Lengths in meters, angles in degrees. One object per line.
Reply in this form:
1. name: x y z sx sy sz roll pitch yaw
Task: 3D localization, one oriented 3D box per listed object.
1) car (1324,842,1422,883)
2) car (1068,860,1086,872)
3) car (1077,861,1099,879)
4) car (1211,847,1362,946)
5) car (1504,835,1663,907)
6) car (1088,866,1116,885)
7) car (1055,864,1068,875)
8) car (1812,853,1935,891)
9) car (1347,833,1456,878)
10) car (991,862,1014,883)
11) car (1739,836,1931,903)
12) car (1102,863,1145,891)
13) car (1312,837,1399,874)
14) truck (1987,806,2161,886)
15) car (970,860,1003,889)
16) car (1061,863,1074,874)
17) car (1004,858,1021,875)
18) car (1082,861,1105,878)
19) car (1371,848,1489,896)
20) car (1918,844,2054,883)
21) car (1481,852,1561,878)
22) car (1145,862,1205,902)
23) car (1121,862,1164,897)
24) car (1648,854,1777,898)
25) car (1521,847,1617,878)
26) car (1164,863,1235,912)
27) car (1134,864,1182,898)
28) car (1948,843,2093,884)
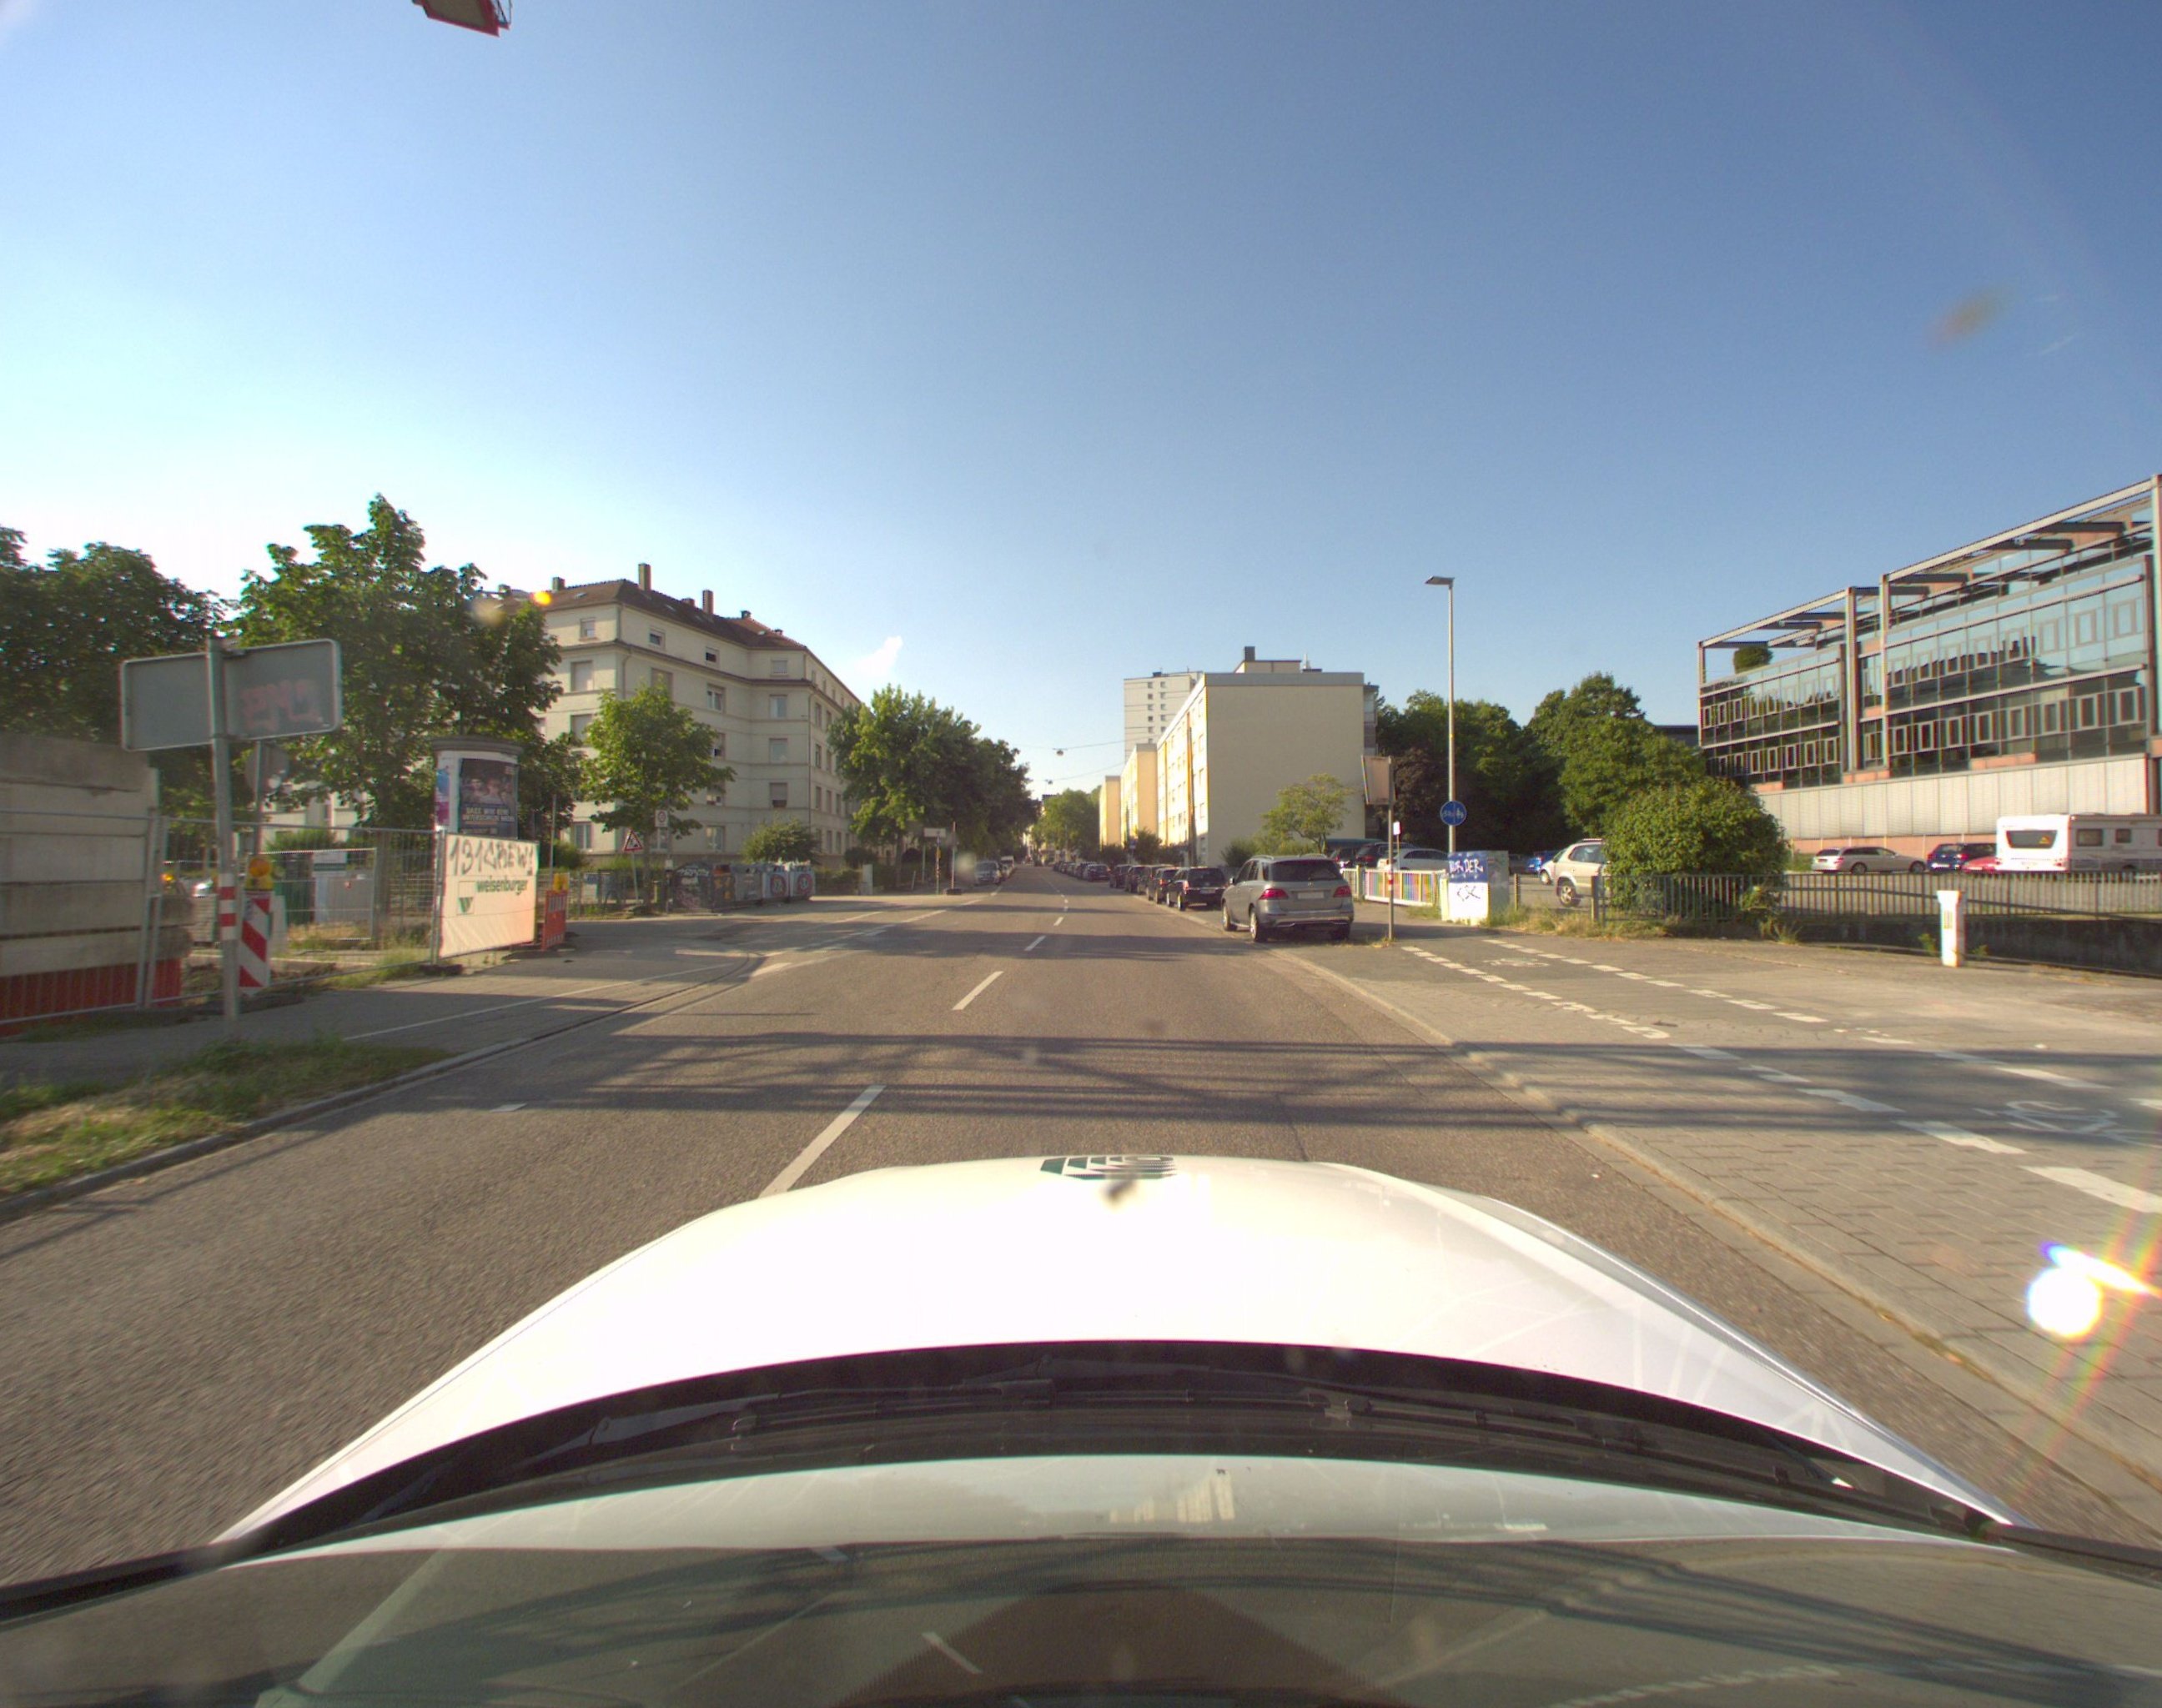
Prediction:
1. car: 13.882 0.426 38.885 3.977 1.794 1.998 2 -2 -3
2. car: -0.505 1.529 103.059 1.871 1.443 3.991 2 -2 -6
3. car: 0.672 1.581 80.868 1.768 1.678 4.639 -2 -2 -4
4. car: 4.299 0.884 17.925 1.916 1.779 4.807 -4 -2 -1
5. car: 13.061 0.476 21.457 1.648 1.662 3.996 2 -2 -2
6. car: 1.751 1.856 69.799 1.796 1.507 4.611 2 -2 -6
7. car: -3.379 2.678 142.118 1.895 1.651 4.333 4 -1 -6
8. car: 38.751 0.893 39.894 4.265 1.725 1.997 2 -2 -4
9. car: 14.038 0.082 35.777 3.979 1.794 1.997 2 -2 -4
10. car: -6.987 1.642 72.260 1.871 1.759 4.679 2 -2 -6
11. car: 22.085 0.471 23.967 3.979 1.794 1.997 2 -2 -4
12. car: 2.661 1.437 51.924 1.884 1.561 4.935 -4 -1 -6
13. car: 14.581 0.095 43.398 3.979 1.794 1.997 2 -2 -4
14. truck: 38.338 -0.240 30.373 6.405 2.684 2.541 2 -2 -1
15. car: -6.562 1.447 56.963 1.837 1.897 4.481 4 -2 -3
16. car: -2.027 2.195 119.625 1.833 1.502 4.167 2 -2 -3
17. car: -10.193 1.929 121.562 2.353 2.446 6.155 2 -2 -4
18. car: 1.121 1.494 75.634 1.768 1.508 3.994 2 -2 -4
19. car: 14.254 0.753 33.357 3.979 1.794 1.997 2 -2 -4
20. car: 39.205 0.425 35.342 4.063 1.503 1.828 2 -2 -4
21. car: 27.614 0.699 51.191 4.063 1.503 1.828 2 -2 -4
22. car: 3.914 1.187 34.652 1.896 1.530 4.807 2 -2 -1
23. car: 3.338 1.390 44.916 1.896 1.779 4.578 2 -2 -1
24. car: 27.663 0.976 35.777 4.265 1.725 1.997 2 -2 -4
25. car: 27.763 0.503 46.400 4.464 1.602 1.731 2 -2 -1
26. car: 4.073 1.170 28.743 1.737 1.541 4.436 -1 -2 -1
27. car: 3.720 1.268 39.819 1.648 1.436 3.953 0 1 -5
28. car: 38.487 0.417 33.411 4.063 1.503 1.828 2 -2 -4
